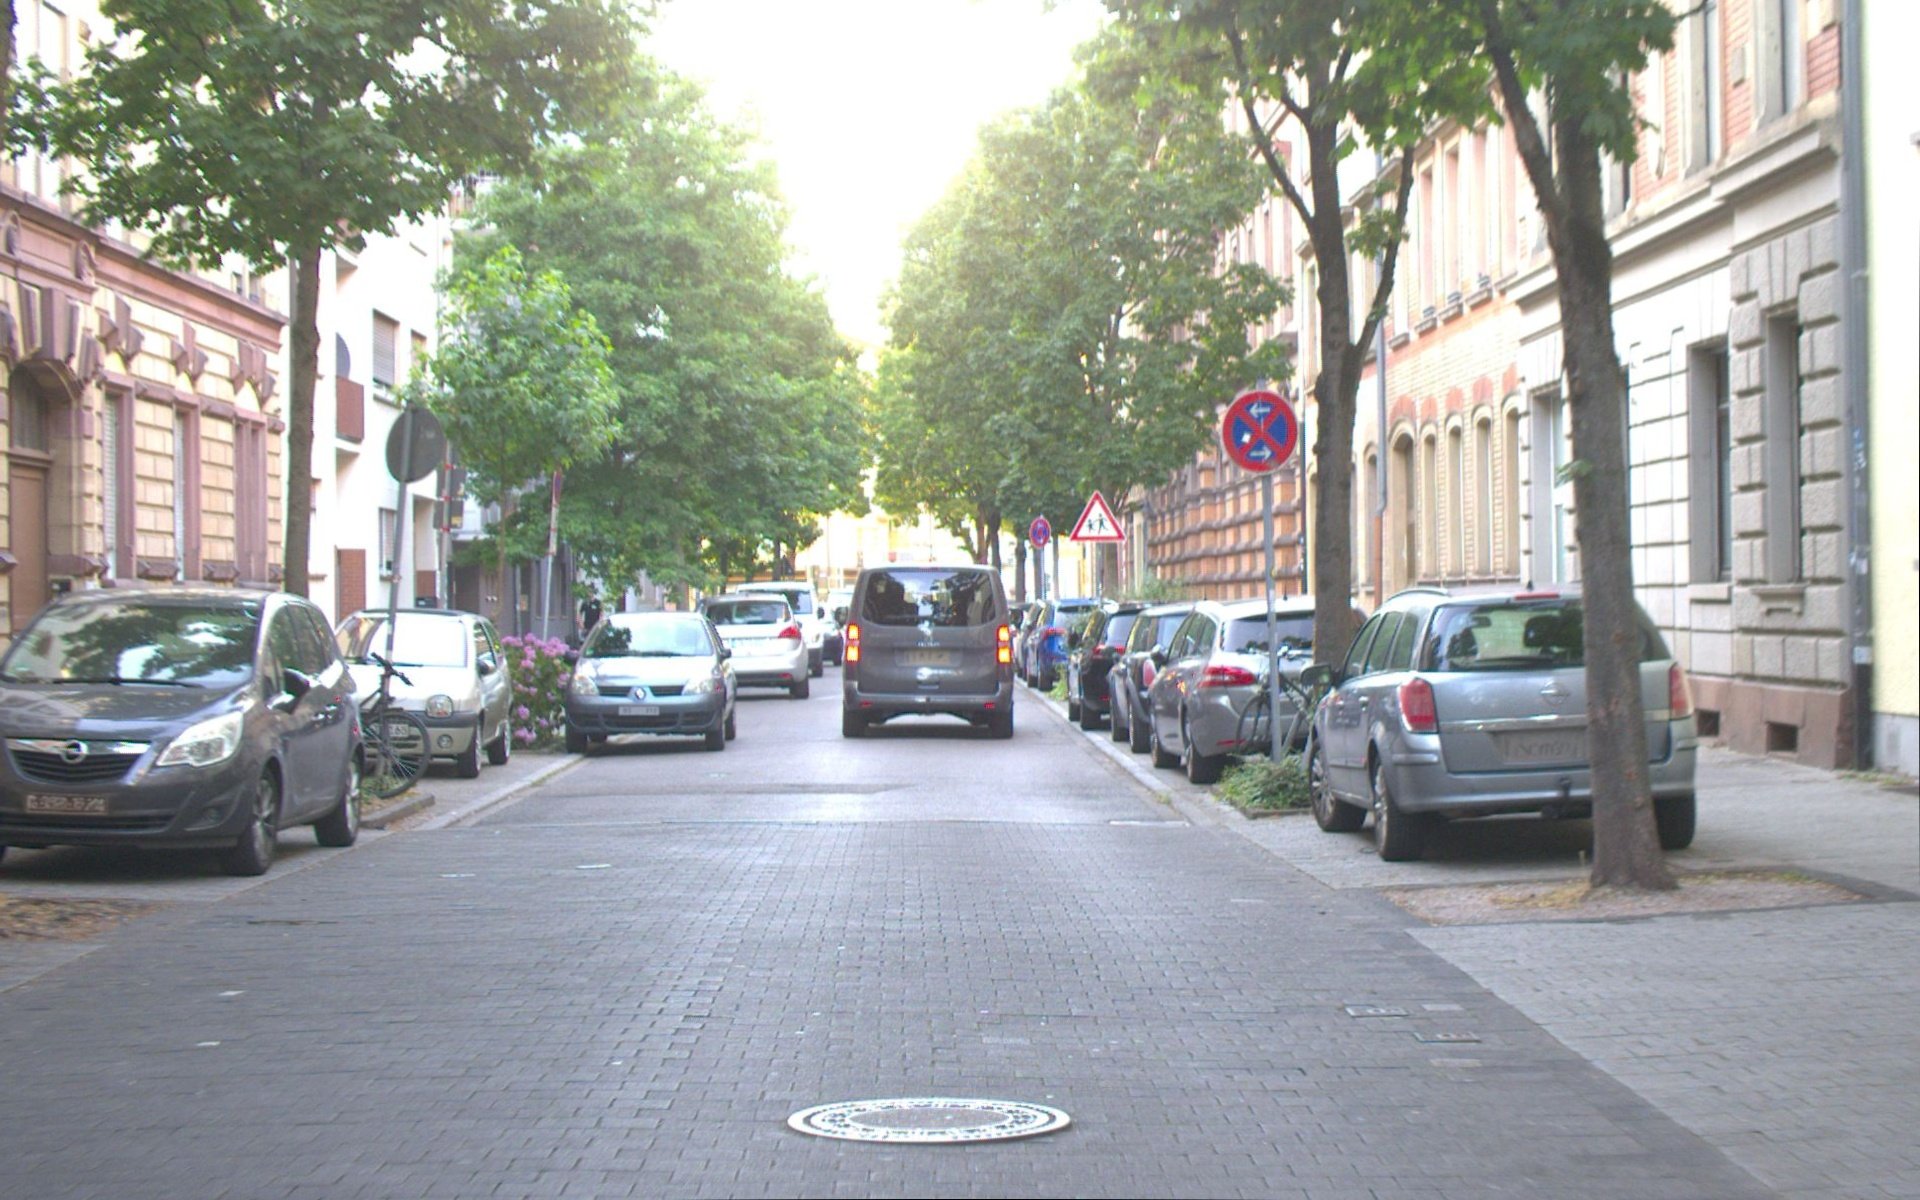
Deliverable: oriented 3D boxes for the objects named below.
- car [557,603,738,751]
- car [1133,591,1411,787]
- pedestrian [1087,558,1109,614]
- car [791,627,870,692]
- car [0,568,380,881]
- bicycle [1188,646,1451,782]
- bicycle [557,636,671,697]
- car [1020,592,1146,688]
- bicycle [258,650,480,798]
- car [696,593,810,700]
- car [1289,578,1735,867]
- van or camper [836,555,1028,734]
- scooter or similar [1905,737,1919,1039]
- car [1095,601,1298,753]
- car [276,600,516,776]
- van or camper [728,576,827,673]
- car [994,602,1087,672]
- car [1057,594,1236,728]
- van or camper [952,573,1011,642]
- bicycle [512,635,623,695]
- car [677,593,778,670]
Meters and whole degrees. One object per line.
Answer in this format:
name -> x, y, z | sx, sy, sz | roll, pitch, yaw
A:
car -> -3.177, 0.757, 35.498 | 1.580, 1.415, 3.753 | -1, 0, -1
car -> 2.551, 0.693, 29.096 | 1.716, 1.471, 4.368 | -2, 0, -3
pedestrian -> 4.011, -0.404, 100.015 | 0.627, 1.643, 0.532 | 0, 0, 0
car -> -3.089, 1.404, 82.741 | 1.830, 1.512, 4.516 | 0, 0, -2
car -> -4.531, 0.622, 19.687 | 1.706, 1.575, 4.078 | 1, 0, 0
bicycle -> 2.741, 0.856, 26.198 | 1.915, 0.978, 0.638 | 0, 0, -22
bicycle -> -5.188, 0.993, 51.563 | 1.699, 0.904, 0.383 | 1, -1, -30
car -> 1.932, 0.617, 55.046 | 1.627, 1.461, 4.246 | -1, 0, -3
bicycle -> -4.521, 0.934, 26.240 | 1.826, 1.081, 0.667 | 0, -2, 42
car -> -3.215, 0.696, 53.114 | 1.663, 1.558, 4.000 | -1, 0, -4
car -> 3.059, 0.627, 19.909 | 1.758, 1.458, 4.308 | -1, 0, -2
van or camper -> -0.258, 0.476, 38.490 | 2.035, 1.891, 4.270 | 0, 0, 1
scooter or similar -> 2.422, 0.829, 6.705 | 0.675, 1.186, 1.113 | -3, -1, 39
car -> 2.336, 0.739, 34.704 | 1.635, 1.419, 3.565 | -1, 0, -2
car -> -4.927, 0.732, 30.420 | 1.587, 1.432, 3.566 | 1, 0, -1
van or camper -> -3.612, 0.469, 68.374 | 1.876, 1.836, 4.753 | -1, 0, -3
car -> 1.650, 0.751, 72.057 | 1.693, 1.396, 4.646 | -1, 0, -1
car -> 2.136, 0.682, 40.360 | 1.766, 1.410, 4.474 | -2, 0, 0
van or camper -> 0.789, 0.281, 131.314 | 1.993, 2.590, 5.424 | 0, 0, -2
bicycle -> -5.963, 0.989, 52.329 | 1.659, 0.895, 0.383 | 1, -1, -30
car -> -5.230, 0.694, 77.869 | 1.993, 1.641, 4.922 | 1, 0, -1
